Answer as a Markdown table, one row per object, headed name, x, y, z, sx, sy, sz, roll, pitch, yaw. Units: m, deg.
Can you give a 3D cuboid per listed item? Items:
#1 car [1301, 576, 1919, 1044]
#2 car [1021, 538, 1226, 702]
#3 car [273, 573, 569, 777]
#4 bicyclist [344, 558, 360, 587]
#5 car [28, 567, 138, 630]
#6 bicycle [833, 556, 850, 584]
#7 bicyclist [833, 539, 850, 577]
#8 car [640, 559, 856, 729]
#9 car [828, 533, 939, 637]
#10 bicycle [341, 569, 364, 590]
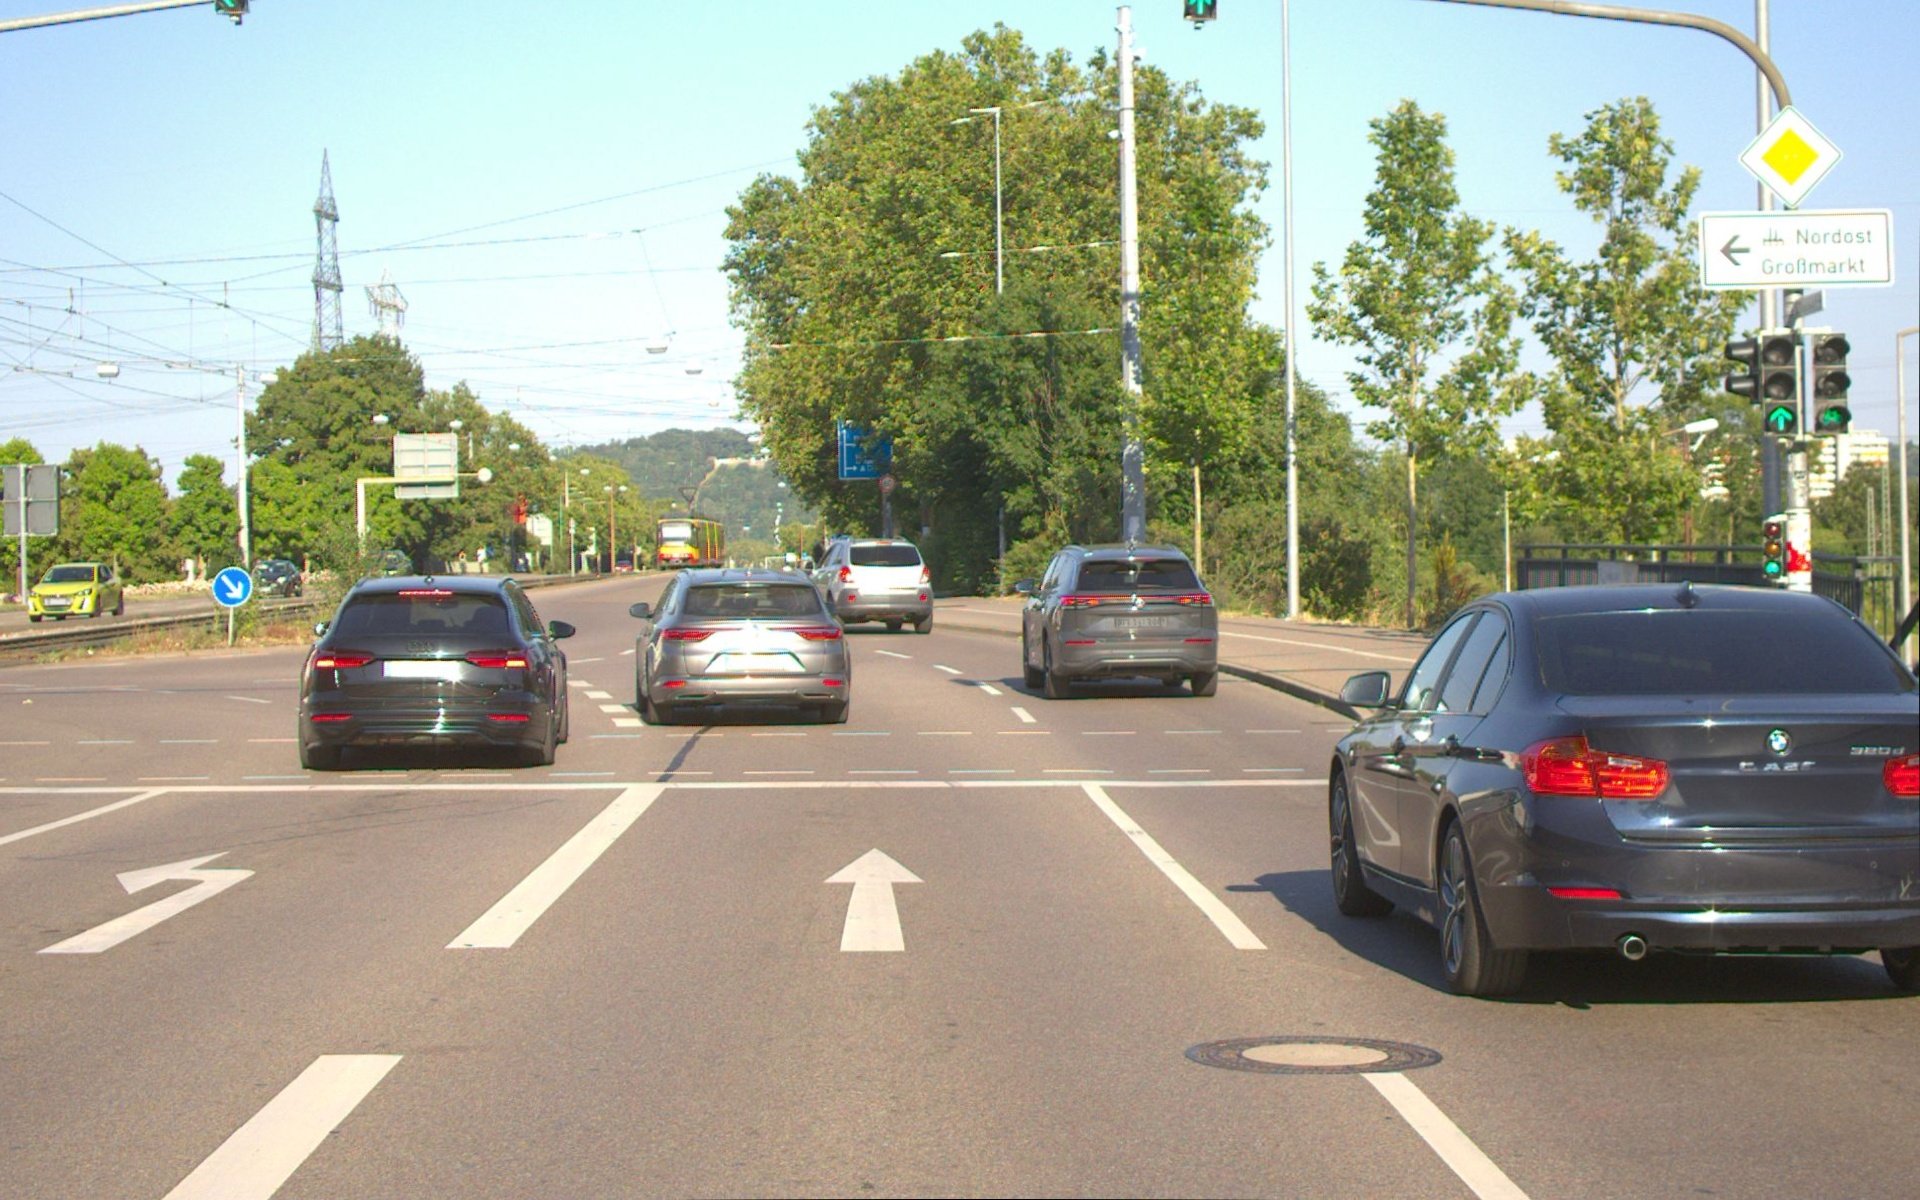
| name | x | y | z | sx | sy | sz | roll | pitch | yaw |
| --- | --- | --- | --- | --- | --- | --- | --- | --- | --- |
| car | 2.520 | 0.651 | 13.044 | 1.866 | 1.462 | 4.586 | 0 | 0 | -2 |
| car | 1.721 | 0.170 | 37.596 | 1.844 | 1.655 | 4.440 | 0 | 1 | -2 |
| car | -4.104 | 0.524 | 26.765 | 1.915 | 1.453 | 4.092 | 0 | 1 | -4 |
| bicyclist | -34.068 | -1.539 | 192.624 | 0.661 | 1.618 | 0.801 | 1 | 1 | 8 |
| car | -22.386 | -0.061 | 87.870 | 1.783 | 1.442 | 4.108 | -2 | 1 | -1 |
| bicycle | -4.732 | -1.204 | 137.481 | 0.622 | 1.116 | 1.813 | -2 | 1 | -2 |
| bicyclist | -4.753 | -1.687 | 137.825 | 0.685 | 1.503 | 0.891 | 0 | 1 | -2 |
| car | -2.101 | 0.366 | 32.918 | 1.865 | 1.462 | 4.667 | 1 | 1 | -6 |
| car | -1.421 | -0.302 | 62.591 | 1.883 | 1.789 | 4.001 | 1 | 1 | -3 |
| bicycle | -34.062 | -1.158 | 192.738 | 0.661 | 1.147 | 2.021 | 1 | 1 | 7 |
